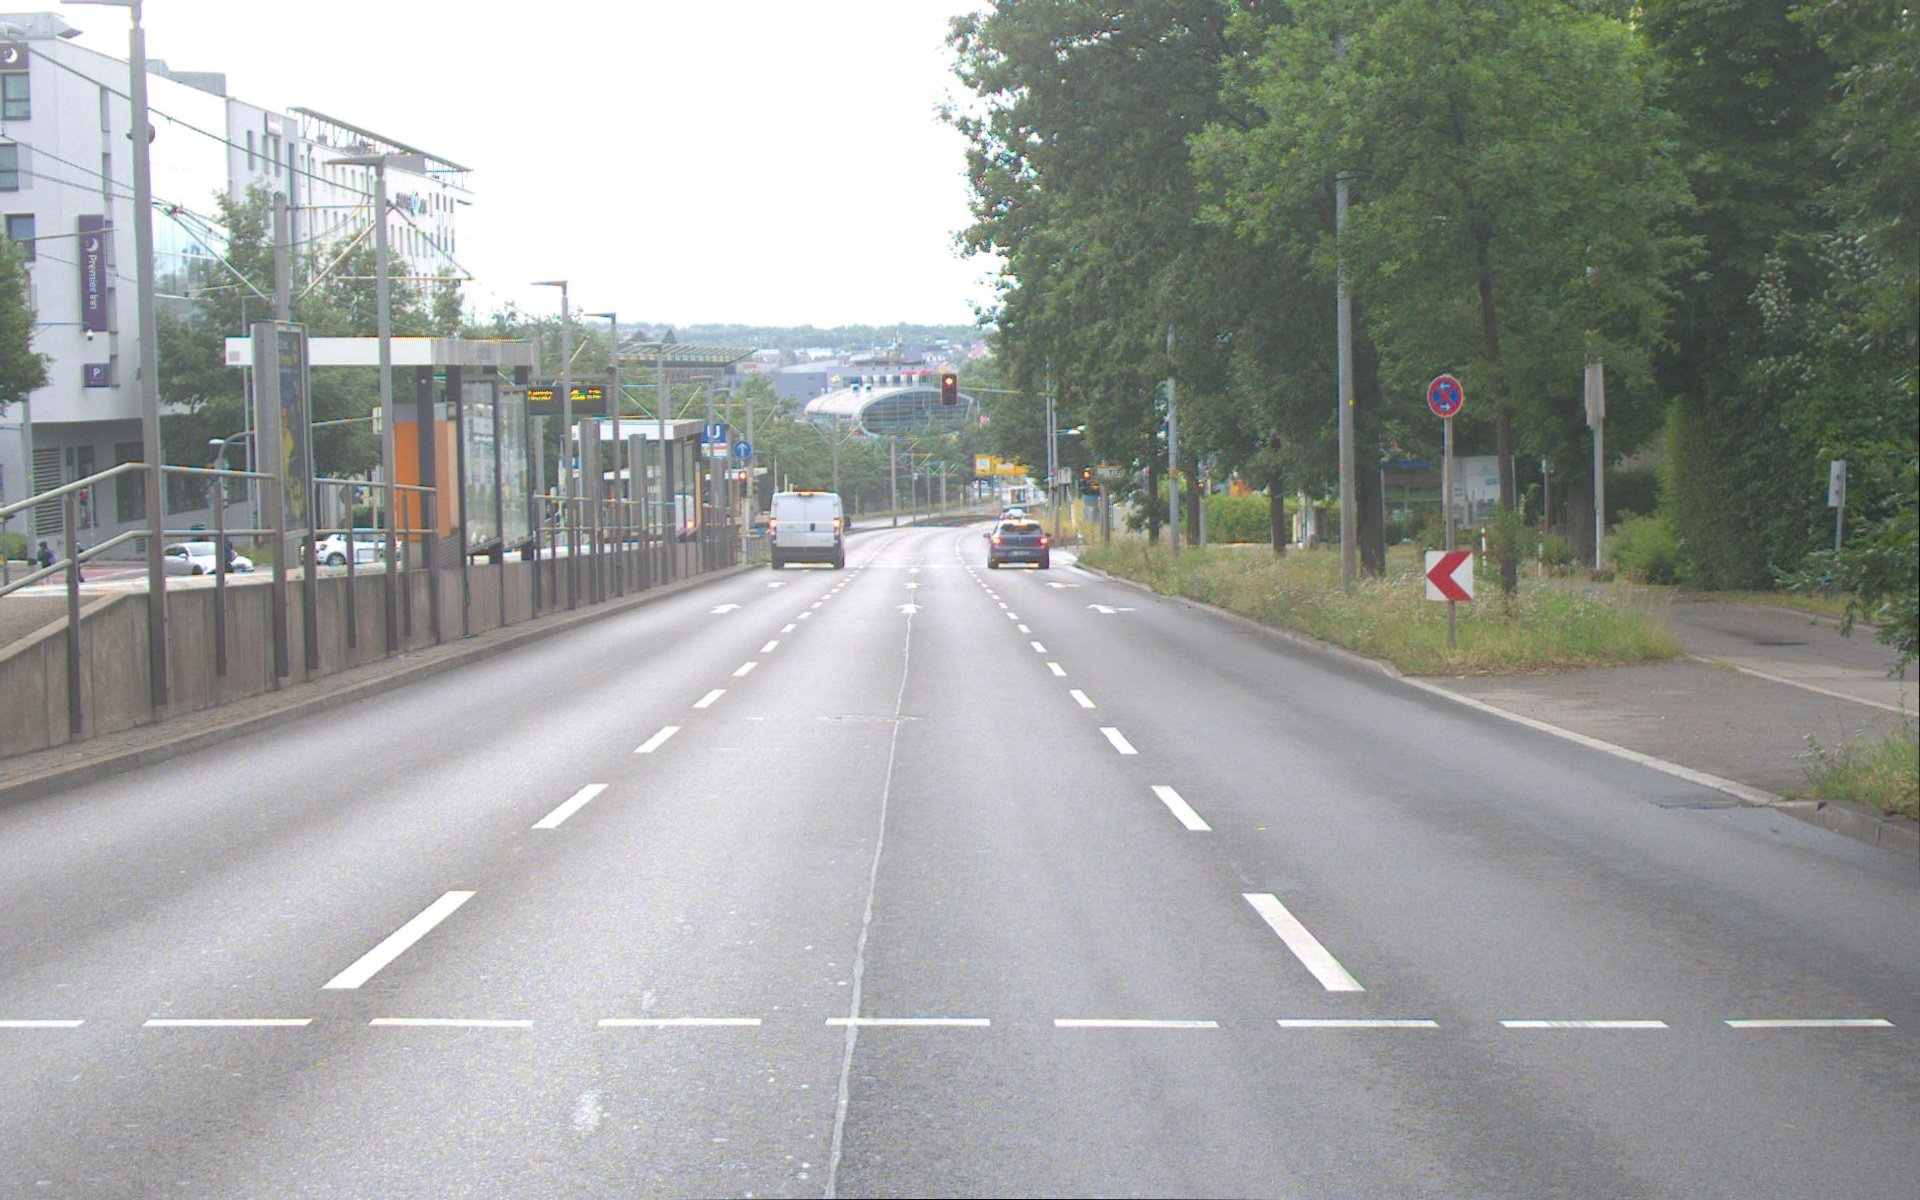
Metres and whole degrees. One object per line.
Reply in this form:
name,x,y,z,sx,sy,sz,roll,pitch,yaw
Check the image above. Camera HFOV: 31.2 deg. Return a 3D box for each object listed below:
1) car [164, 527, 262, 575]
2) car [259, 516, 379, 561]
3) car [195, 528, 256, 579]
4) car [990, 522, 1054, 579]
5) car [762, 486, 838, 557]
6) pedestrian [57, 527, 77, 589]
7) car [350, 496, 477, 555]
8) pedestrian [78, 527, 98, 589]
car,-24.349,-1.595,111.934,1.651,1.431,3.879,-3,2,-36
car,-23.098,-2.206,123.849,4.087,1.431,1.656,-3,1,-15
car,-22.202,-1.417,103.911,1.650,1.431,3.881,-3,1,-13
car,1.833,-1.496,102.773,1.774,1.685,3.846,0,1,-1
car,-4.695,-2.323,101.426,2.093,2.046,4.607,0,1,-1
pedestrian,-27.498,-1.300,105.901,0.475,1.914,0.490,0,1,-1
car,-19.011,-2.607,119.565,3.987,2.007,1.760,-1,2,-31
pedestrian,-26.970,-1.304,106.313,0.475,1.914,0.490,0,1,-1
